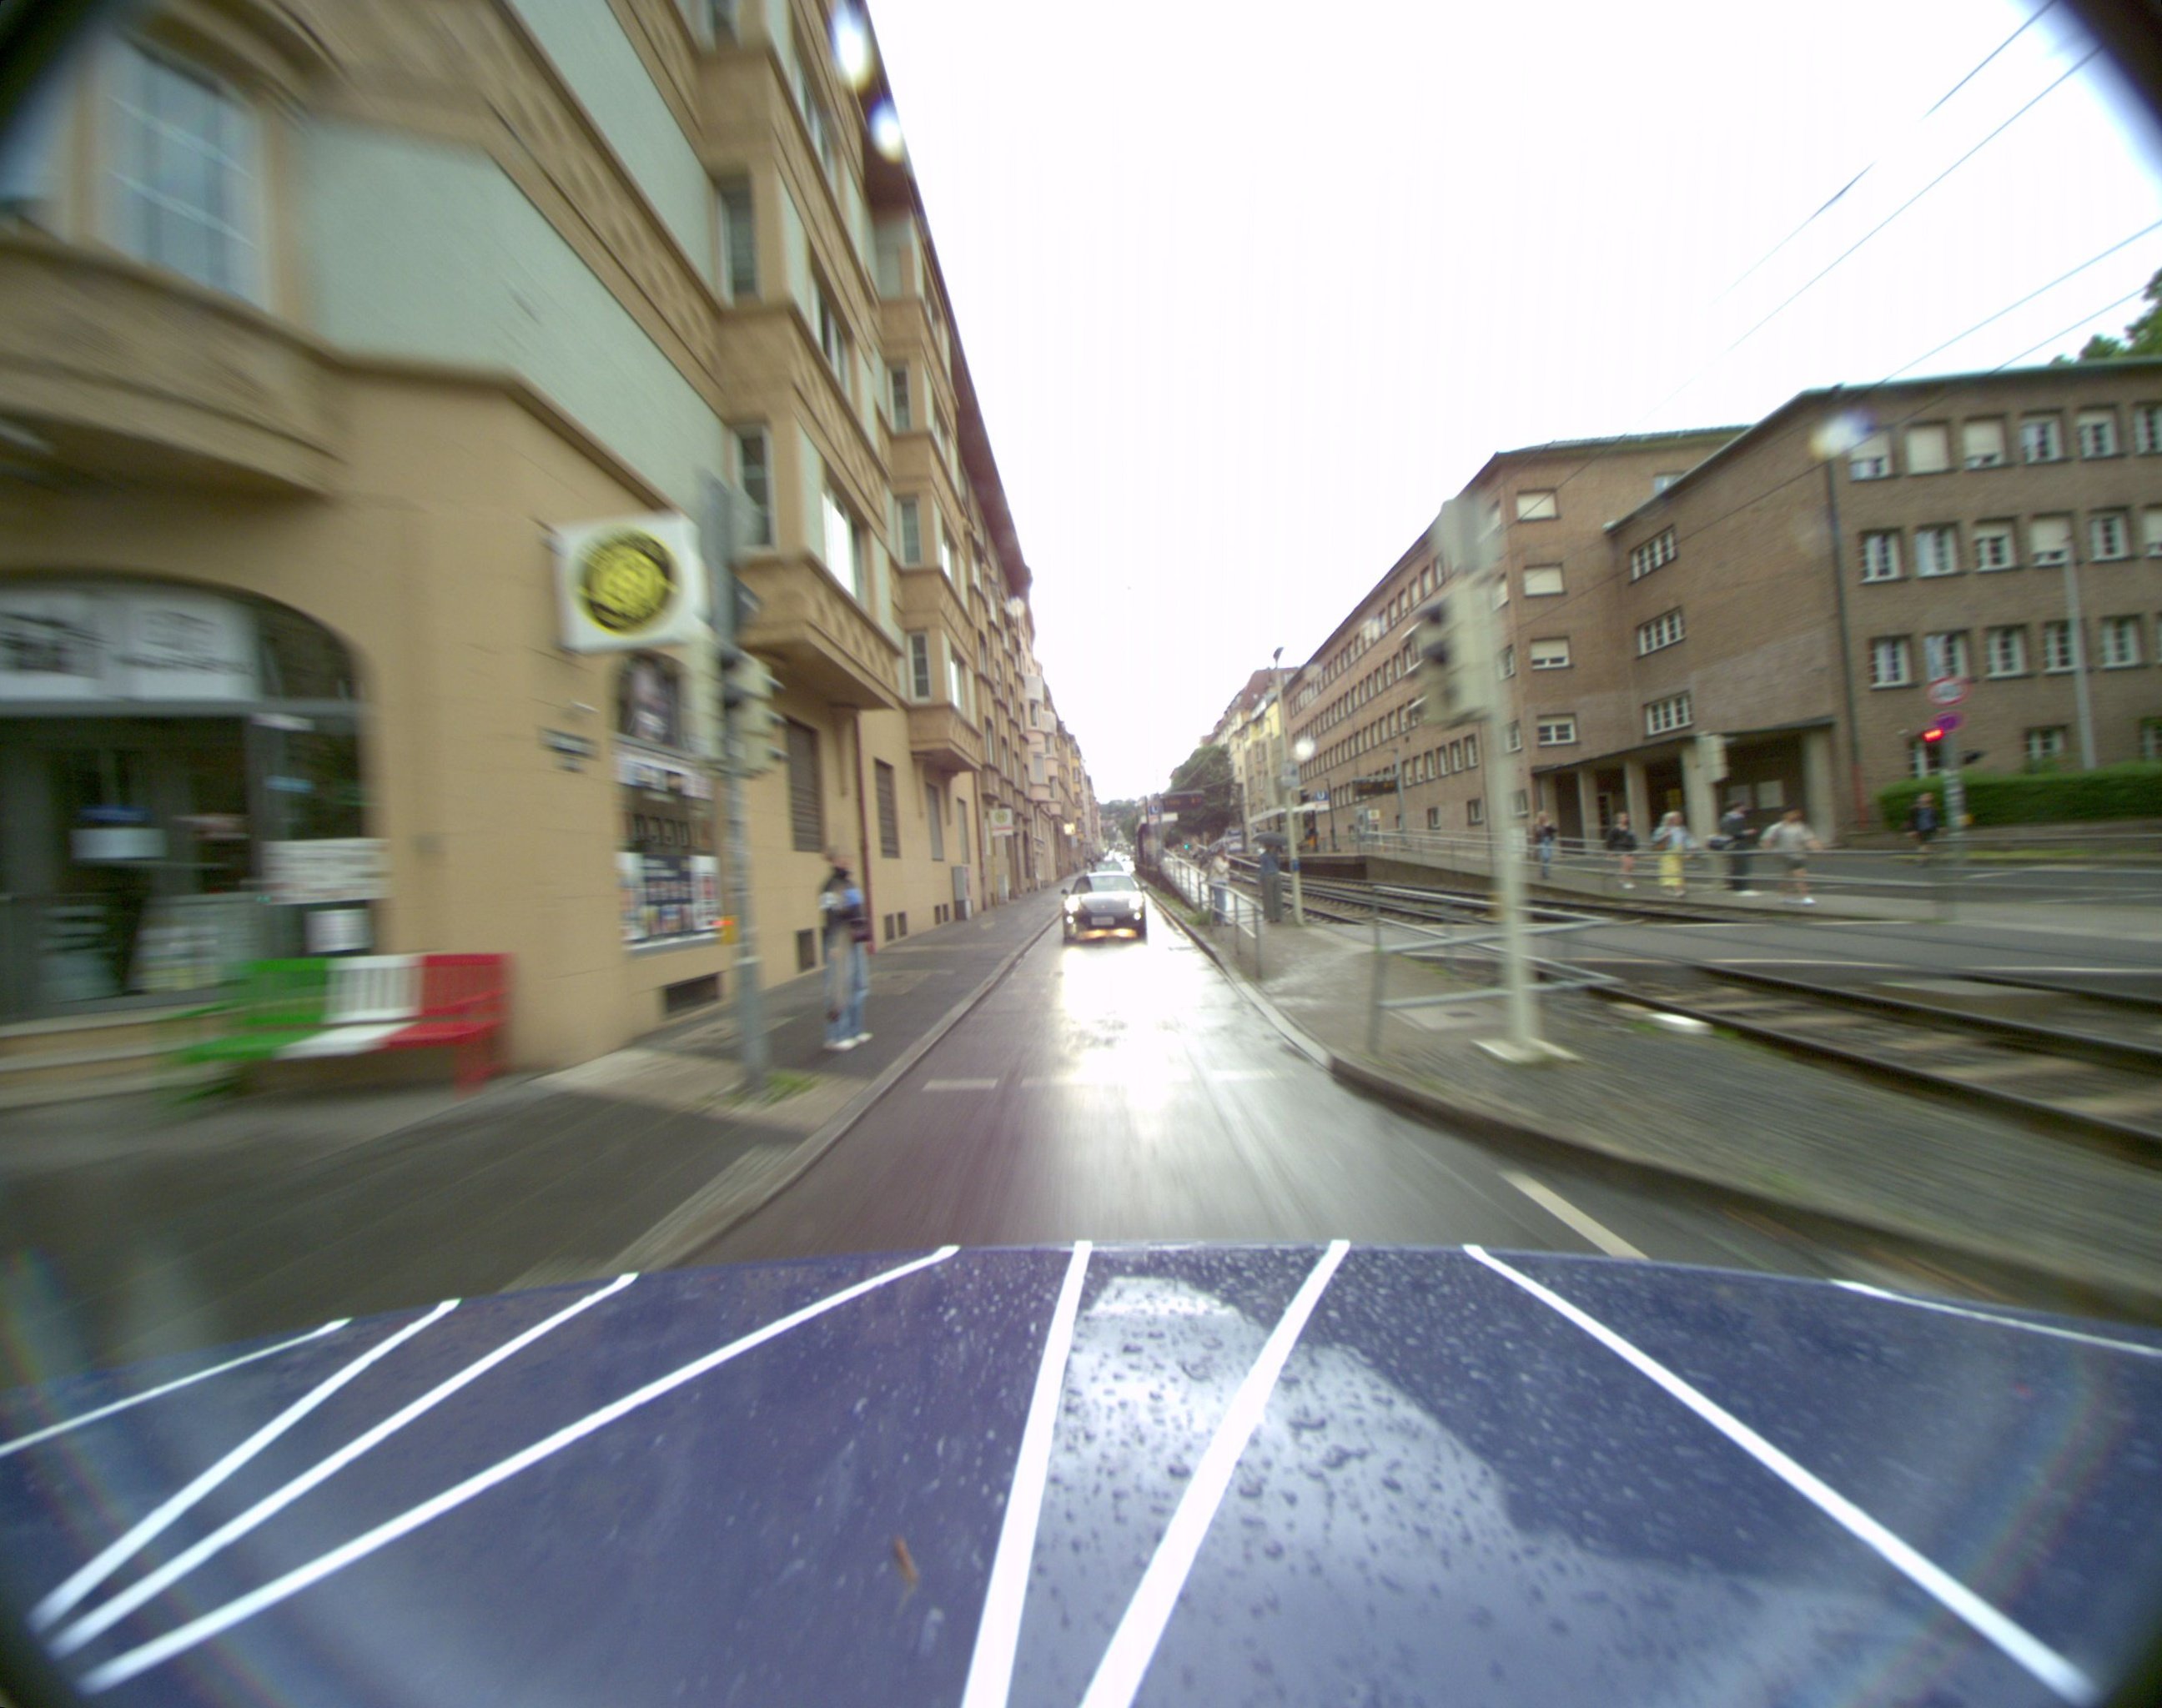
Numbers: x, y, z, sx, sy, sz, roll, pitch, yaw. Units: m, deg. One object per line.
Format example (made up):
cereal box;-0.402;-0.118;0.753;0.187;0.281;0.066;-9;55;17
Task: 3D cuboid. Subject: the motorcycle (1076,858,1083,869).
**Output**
motorcycle;-0.157;1.031;85.366;0.692;1.230;1.779;1;1;3

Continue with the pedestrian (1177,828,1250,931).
pedestrian;2.726;0.517;15.631;0.949;2.002;0.927;-5;1;-42

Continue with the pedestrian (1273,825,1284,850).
pedestrian;13.748;-1.172;52.899;0.588;1.699;0.491;-3;1;2

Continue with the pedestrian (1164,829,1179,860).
pedestrian;5.357;-0.543;45.022;0.645;1.764;0.710;-5;1;3

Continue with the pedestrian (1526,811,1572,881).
pedestrian;11.946;-0.216;19.406;0.666;1.689;0.688;-6;4;0

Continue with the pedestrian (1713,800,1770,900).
pedestrian;12.398;-0.075;14.267;0.801;1.808;0.511;-5;1;-31

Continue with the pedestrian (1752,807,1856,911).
pedestrian;11.601;0.079;12.230;0.694;1.574;0.956;-4;1;2

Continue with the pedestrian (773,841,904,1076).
pedestrian;-2.012;0.812;6.459;0.969;1.830;0.901;-1;1;-14

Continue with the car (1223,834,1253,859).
car;13.930;-0.670;67.667;1.998;2.002;4.000;-2;1;3

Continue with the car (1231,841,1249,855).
car;18.656;-0.697;89.358;1.648;1.457;3.112;-4;0;4

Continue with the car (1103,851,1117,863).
car;3.996;0.451;103.142;1.633;1.443;4.001;-4;0;4

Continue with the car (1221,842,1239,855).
car;19.203;-0.720;98.182;1.648;1.571;4.340;-4;0;4

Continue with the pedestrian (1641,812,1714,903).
pedestrian;11.564;0.067;14.745;0.745;1.637;0.641;-7;1;3

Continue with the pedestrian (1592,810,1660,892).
pedestrian;12.027;-0.074;16.793;0.745;1.687;0.882;-6;2;2

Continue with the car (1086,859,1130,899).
car;1.173;1.004;31.826;1.689;1.451;3.299;-3;0;3

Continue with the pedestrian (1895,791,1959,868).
pedestrian;18.917;-0.532;17.008;0.605;1.665;0.688;-3;1;0

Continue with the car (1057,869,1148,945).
car;0.585;1.096;17.128;1.704;1.280;4.196;-5;0;4

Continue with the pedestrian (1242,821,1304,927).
pedestrian;3.862;0.390;15.352;0.899;2.002;0.947;-5;1;3

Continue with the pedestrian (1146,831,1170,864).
pedestrian;4.341;-0.343;42.953;1.116;1.764;1.111;-5;1;3
